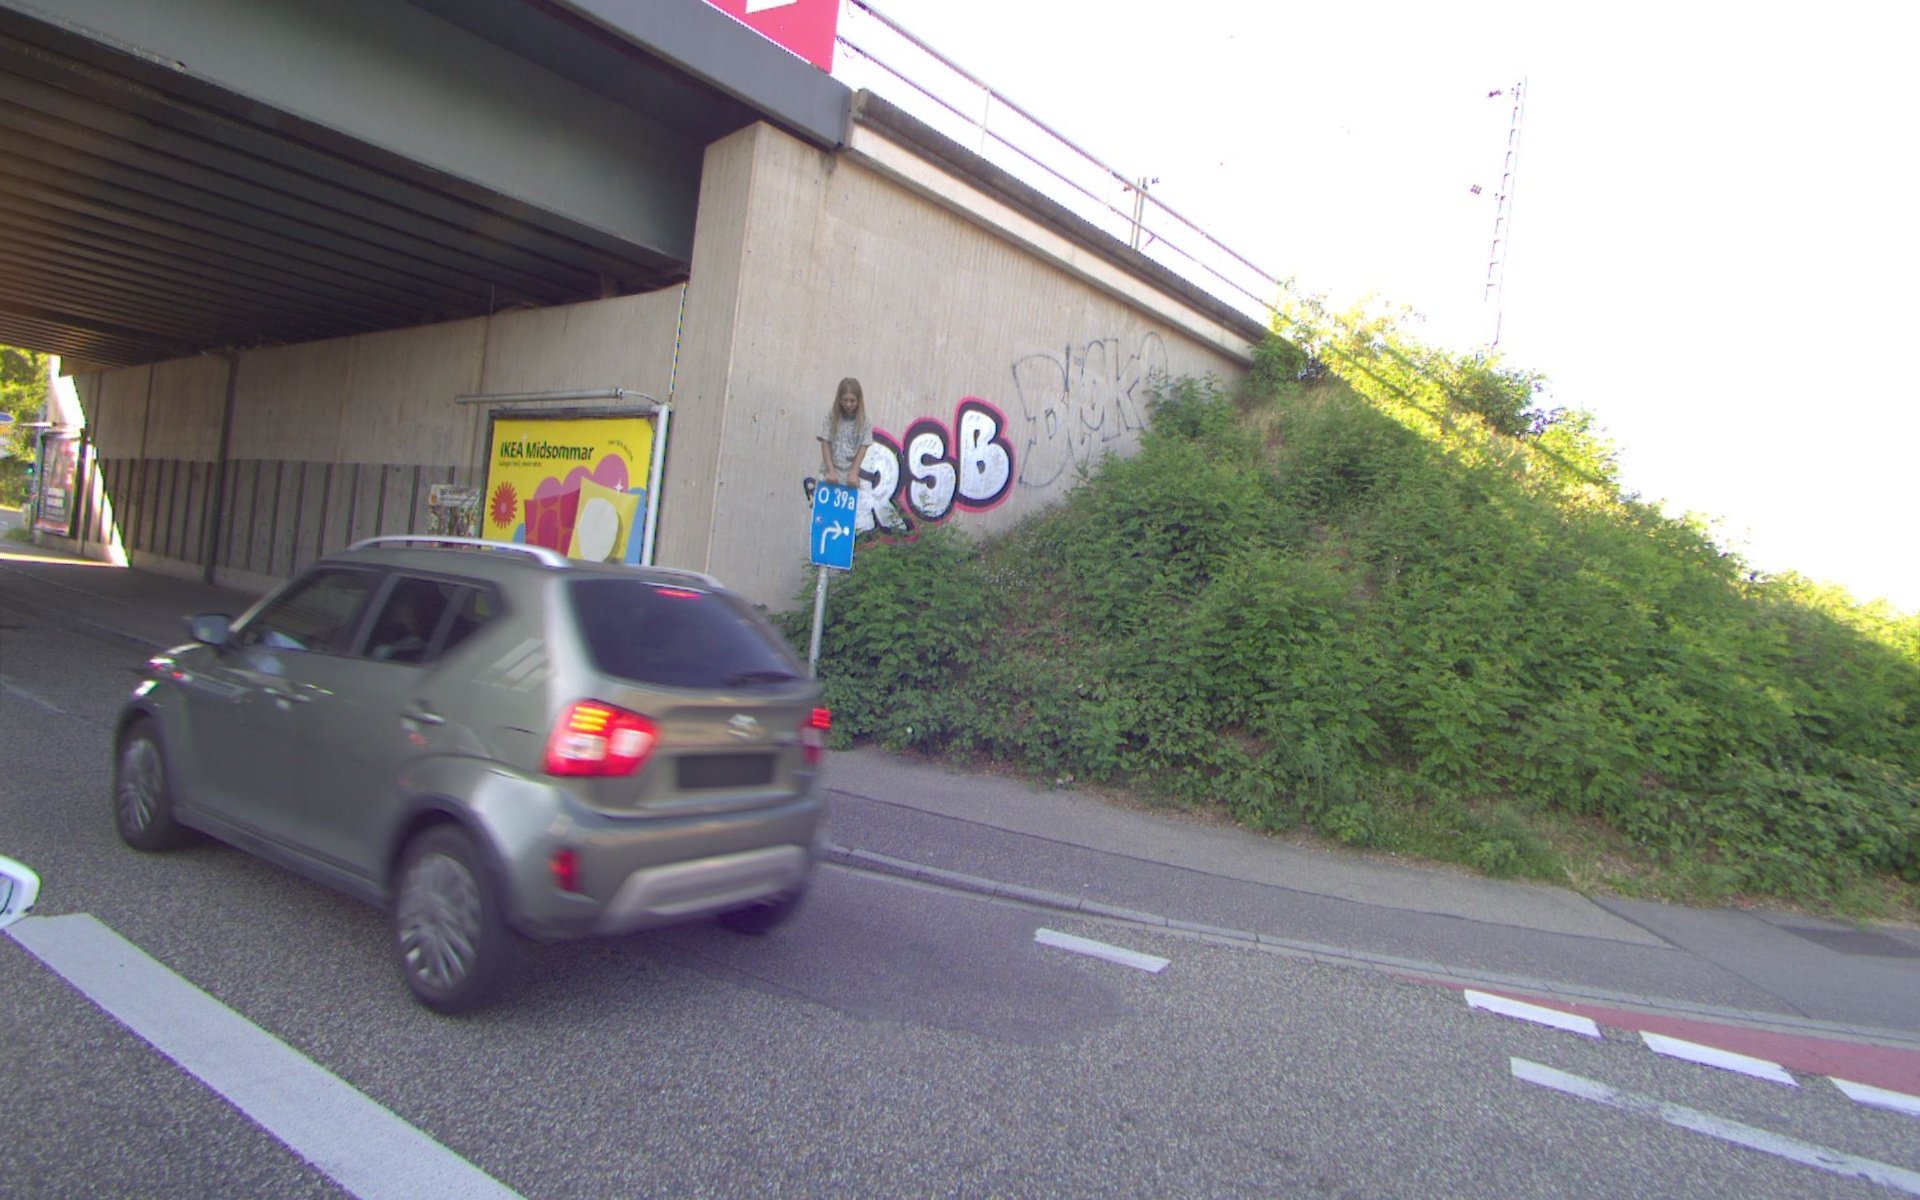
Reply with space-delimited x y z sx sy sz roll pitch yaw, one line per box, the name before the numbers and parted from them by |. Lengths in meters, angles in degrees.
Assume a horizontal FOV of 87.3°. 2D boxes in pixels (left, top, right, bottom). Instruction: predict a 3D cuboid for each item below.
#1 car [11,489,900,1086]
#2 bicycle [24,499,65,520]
car | -2.507 0.532 4.784 3.994 1.649 1.741 6 -2 30
bicycle | -53.910 -5.329 59.262 1.652 1.004 0.572 7 3 -35
